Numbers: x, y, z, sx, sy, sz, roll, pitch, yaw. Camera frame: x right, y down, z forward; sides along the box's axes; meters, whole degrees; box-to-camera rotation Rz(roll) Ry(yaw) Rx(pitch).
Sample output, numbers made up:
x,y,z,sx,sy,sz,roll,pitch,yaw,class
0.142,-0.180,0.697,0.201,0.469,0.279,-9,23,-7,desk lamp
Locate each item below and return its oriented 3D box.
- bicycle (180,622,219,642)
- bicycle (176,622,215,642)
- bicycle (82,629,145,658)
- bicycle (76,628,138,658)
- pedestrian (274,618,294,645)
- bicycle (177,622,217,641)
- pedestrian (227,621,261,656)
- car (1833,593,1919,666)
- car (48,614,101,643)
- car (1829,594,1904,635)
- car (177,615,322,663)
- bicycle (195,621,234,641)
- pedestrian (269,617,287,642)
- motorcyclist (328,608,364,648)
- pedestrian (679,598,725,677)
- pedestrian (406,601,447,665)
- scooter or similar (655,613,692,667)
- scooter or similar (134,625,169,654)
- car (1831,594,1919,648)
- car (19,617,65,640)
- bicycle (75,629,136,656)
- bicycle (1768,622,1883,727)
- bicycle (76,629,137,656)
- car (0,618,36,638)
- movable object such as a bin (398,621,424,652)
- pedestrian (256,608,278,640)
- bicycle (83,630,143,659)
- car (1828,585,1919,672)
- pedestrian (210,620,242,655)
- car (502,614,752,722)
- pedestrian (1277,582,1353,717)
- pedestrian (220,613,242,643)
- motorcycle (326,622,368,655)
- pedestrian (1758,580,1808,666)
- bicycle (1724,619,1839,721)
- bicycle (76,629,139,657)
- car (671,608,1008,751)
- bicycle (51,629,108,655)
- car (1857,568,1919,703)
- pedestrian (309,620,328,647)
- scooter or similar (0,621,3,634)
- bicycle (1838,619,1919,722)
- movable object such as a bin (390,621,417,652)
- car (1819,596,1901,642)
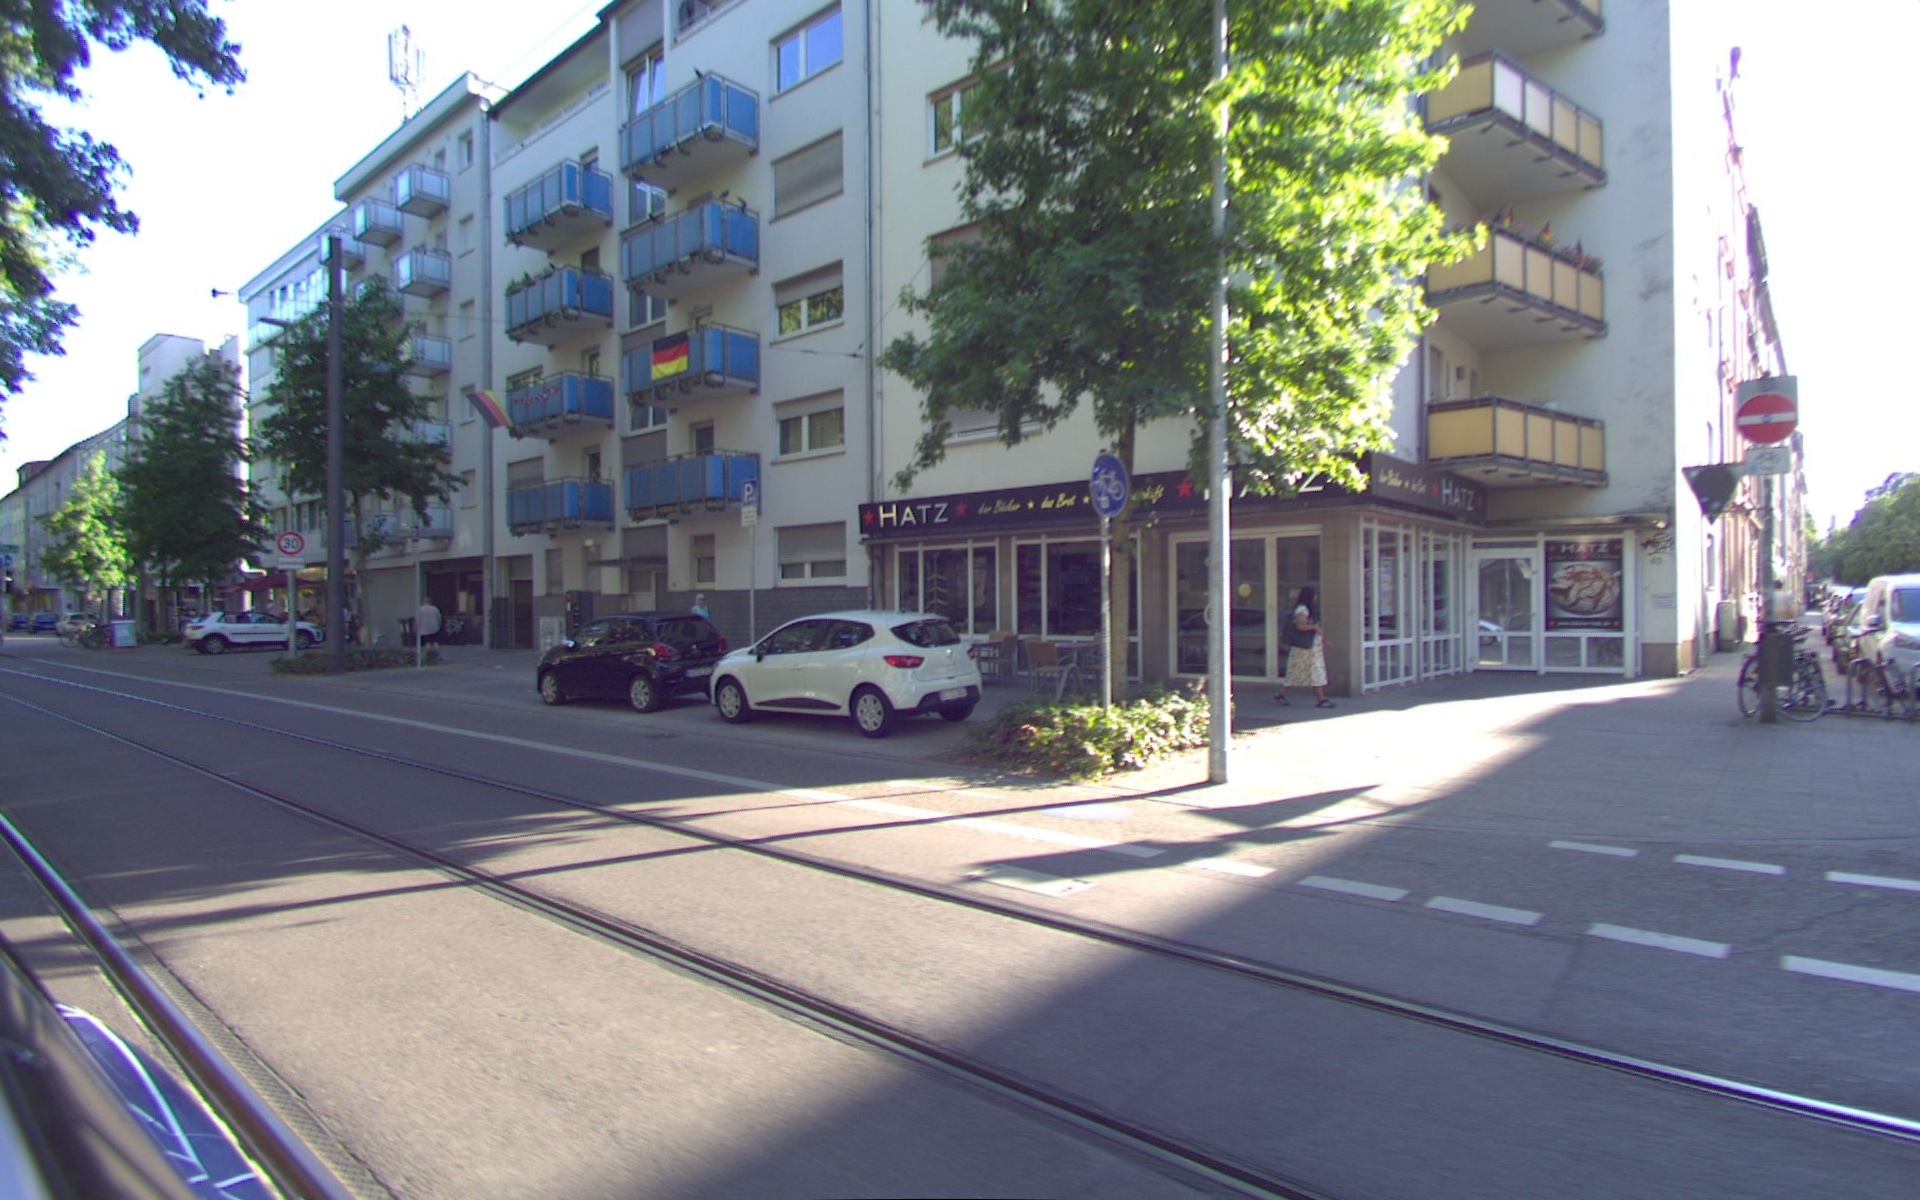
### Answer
x,y,z,sx,sy,sz,roll,pitch,yaw,class
-45.791,1.908,60.924,1.837,1.165,0.572,0,-1,-45,bicycle
-45.347,1.882,60.032,1.759,1.165,0.574,0,-1,-18,bicycle
-33.487,1.708,40.039,0.657,1.014,1.813,-1,1,36,bicycle
-34.140,1.714,40.525,0.657,1.072,1.813,-1,1,36,bicycle
-30.812,1.440,46.100,0.558,1.207,0.511,-1,-1,12,pedestrian
-46.492,1.909,61.692,0.567,1.165,2.025,-1,-1,19,bicycle
-26.722,1.433,37.761,0.907,1.307,0.708,-1,-1,27,pedestrian
21.002,0.613,22.696,2.028,1.511,3.906,-1,-1,40,car
-55.422,1.781,63.329,4.355,1.663,1.859,-1,1,40,car
35.526,0.558,39.752,2.028,1.511,3.905,-1,-1,40,car
-25.316,1.348,36.139,1.852,1.486,3.968,-1,1,43,car
-44.745,1.878,60.762,1.759,1.165,0.574,0,-1,-18,bicycle
-33.032,1.414,49.014,0.507,1.207,0.563,0,-1,6,pedestrian
-22.685,1.031,37.386,1.016,1.451,0.864,-1,-1,42,motorcyclist
-5.725,0.817,22.444,0.748,1.704,0.657,-1,-1,40,pedestrian
-14.617,0.893,27.742,0.794,1.704,0.756,-1,-1,40,pedestrian
-7.063,0.986,24.918,0.370,1.299,1.238,2,-3,-41,scooter or similar
-33.832,1.642,42.353,0.498,1.185,1.069,-1,1,40,scooter or similar
27.580,0.615,30.426,2.028,1.511,3.905,-1,-1,40,car
-64.603,1.975,71.206,4.387,1.556,1.935,-1,-2,41,car
-34.803,1.719,41.235,0.657,1.014,1.813,-1,1,36,bicycle
10.277,0.858,11.999,1.918,1.165,0.573,2,-2,-35,bicycle
-35.074,1.720,41.595,0.657,1.014,1.813,-1,1,36,bicycle
-73.142,2.171,78.487,4.280,1.475,1.776,-1,-2,42,car
-19.244,1.265,35.458,0.574,1.063,0.665,-1,-1,43,movable object such as a bin
-36.278,1.271,52.974,0.748,1.672,0.760,-1,-1,34,pedestrian
-32.616,1.703,38.978,0.657,1.014,1.676,-1,0,36,bicycle
17.817,0.496,19.114,2.027,1.511,3.906,-1,-1,39,car
-27.827,1.401,38.379,0.744,1.307,0.708,-1,-1,27,pedestrian
-5.365,0.993,16.149,3.990,1.475,1.699,-1,1,34,car
4.677,0.629,13.315,0.748,1.704,0.657,-1,-1,40,pedestrian
-38.352,1.447,53.222,0.767,1.568,0.718,-1,-1,36,pedestrian
-22.634,1.413,37.353,1.915,1.173,0.840,-1,-1,43,motorcycle
17.693,0.489,21.775,0.765,1.814,0.824,-1,-1,37,pedestrian
10.036,0.828,12.338,1.918,1.165,0.573,2,-2,-35,bicycle
-34.339,1.715,40.784,0.657,1.014,1.813,-1,1,36,bicycle
-1.669,0.909,13.157,4.370,1.475,1.698,-1,3,37,car
-36.605,1.741,42.077,0.657,1.014,1.676,-1,0,36,bicycle
15.127,0.471,15.193,2.035,1.836,4.830,-1,-1,37,car
-29.132,1.499,45.964,0.623,1.207,0.556,-1,-1,40,pedestrian
-90.474,2.575,95.156,1.272,1.183,0.440,-1,-1,36,scooter or similar
11.383,0.831,12.200,1.917,1.165,0.574,2,-2,-29,bicycle
-19.720,1.282,35.884,0.622,1.063,0.670,-1,-1,43,movable object such as a bin
31.694,0.644,35.742,2.028,1.511,3.905,-1,-1,40,car
